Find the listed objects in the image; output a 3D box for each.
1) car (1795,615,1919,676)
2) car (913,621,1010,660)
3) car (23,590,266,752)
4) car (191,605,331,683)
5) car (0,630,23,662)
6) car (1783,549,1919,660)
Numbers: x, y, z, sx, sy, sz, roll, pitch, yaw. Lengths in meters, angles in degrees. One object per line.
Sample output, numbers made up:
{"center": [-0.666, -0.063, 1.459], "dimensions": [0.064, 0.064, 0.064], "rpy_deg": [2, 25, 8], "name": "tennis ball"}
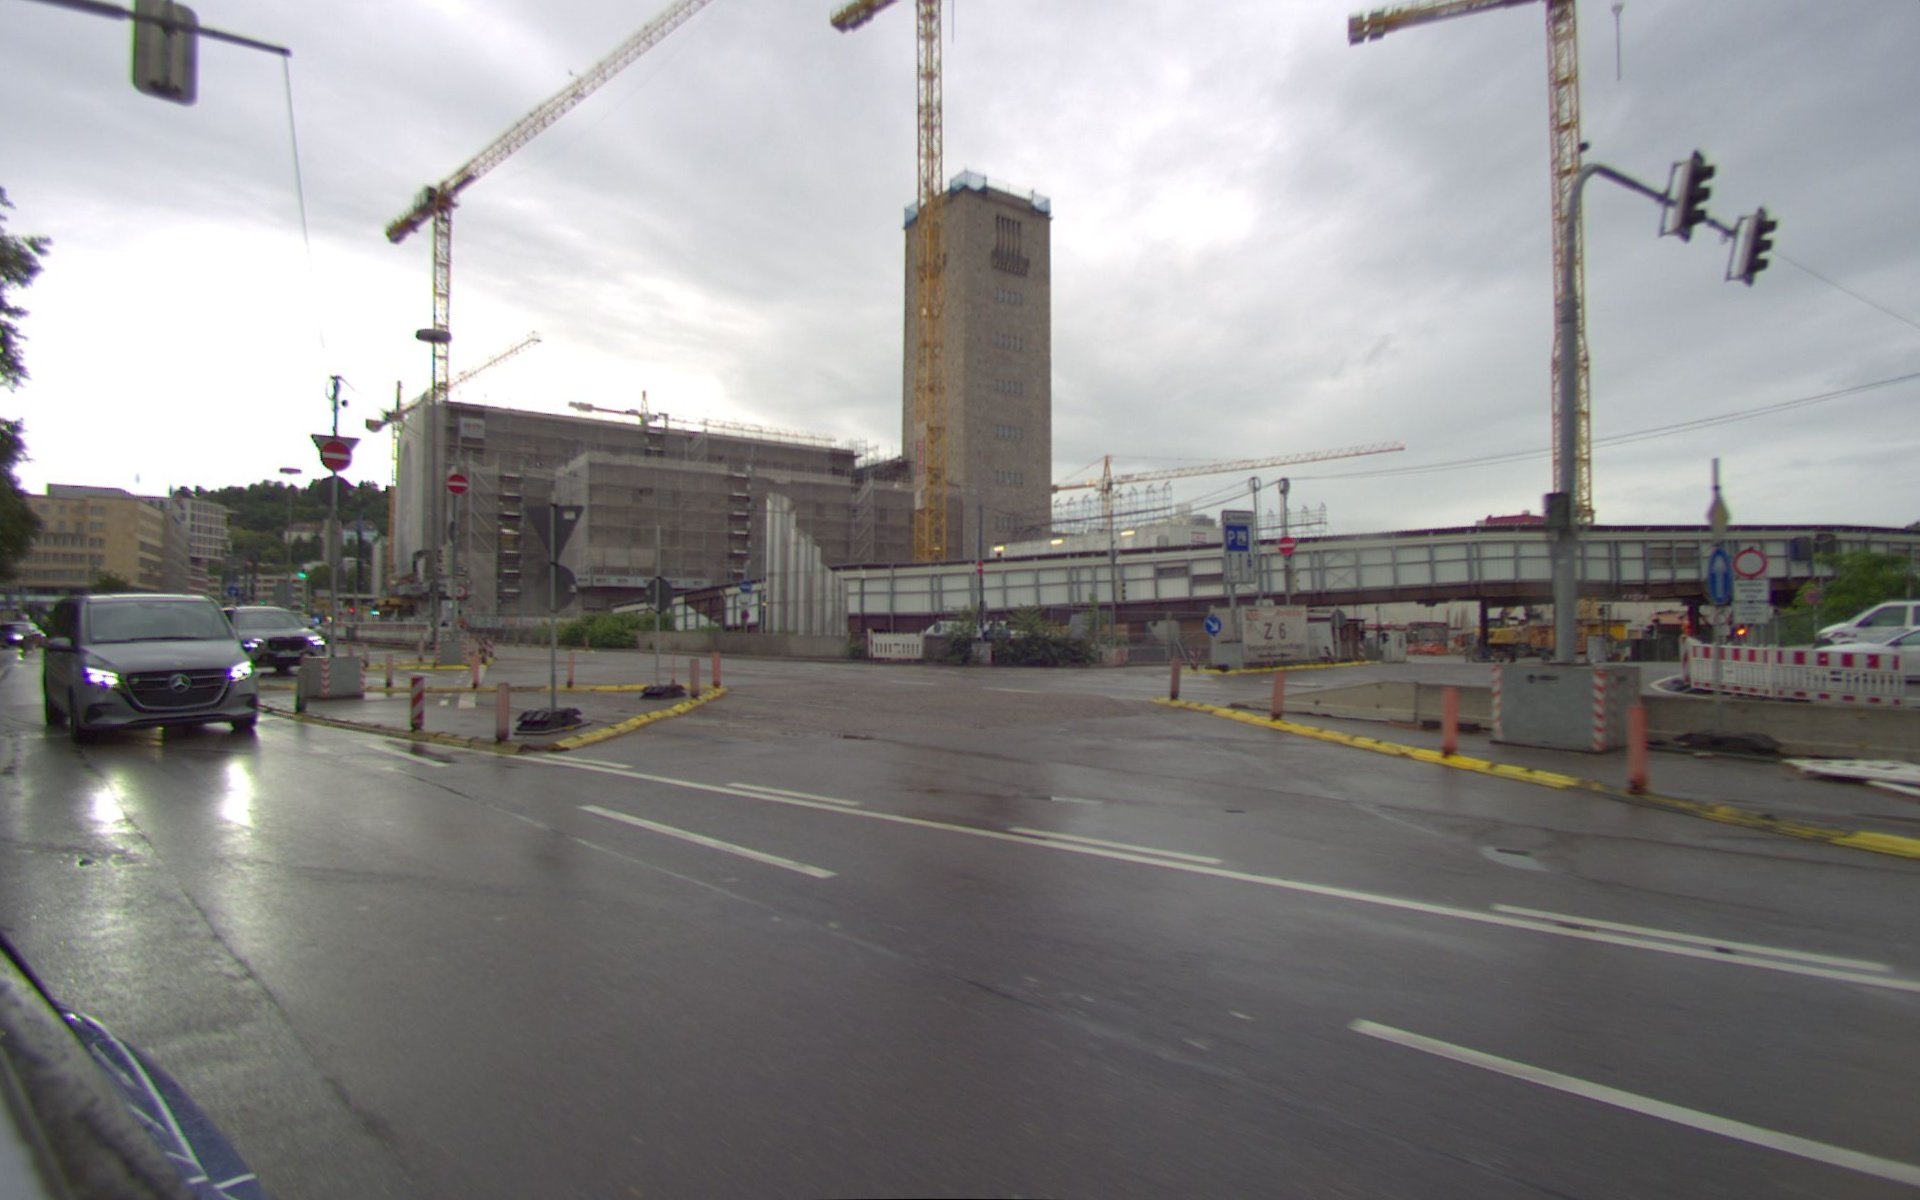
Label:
{"center": [22.977, 1.109, 24.704], "dimensions": [3.825, 1.426, 1.742], "rpy_deg": [-1, -2, 35], "name": "car"}
{"center": [0.120, 2.184, 54.339], "dimensions": [4.972, 2.029, 1.993], "rpy_deg": [0, -2, 11], "name": "car"}
{"center": [-11.598, 0.901, 14.224], "dimensions": [5.358, 1.870, 1.972], "rpy_deg": [-2, -2, 43], "name": "car"}
{"center": [-18.731, 1.108, 27.023], "dimensions": [5.076, 1.877, 2.184], "rpy_deg": [-1, -1, 45], "name": "car"}
{"center": [-54.592, 2.590, 57.420], "dimensions": [1.969, 1.777, 4.005], "rpy_deg": [3, -3, -42], "name": "car"}
{"center": [27.543, 0.155, 28.791], "dimensions": [2.247, 3.089, 6.173], "rpy_deg": [3, -3, -45], "name": "car"}
